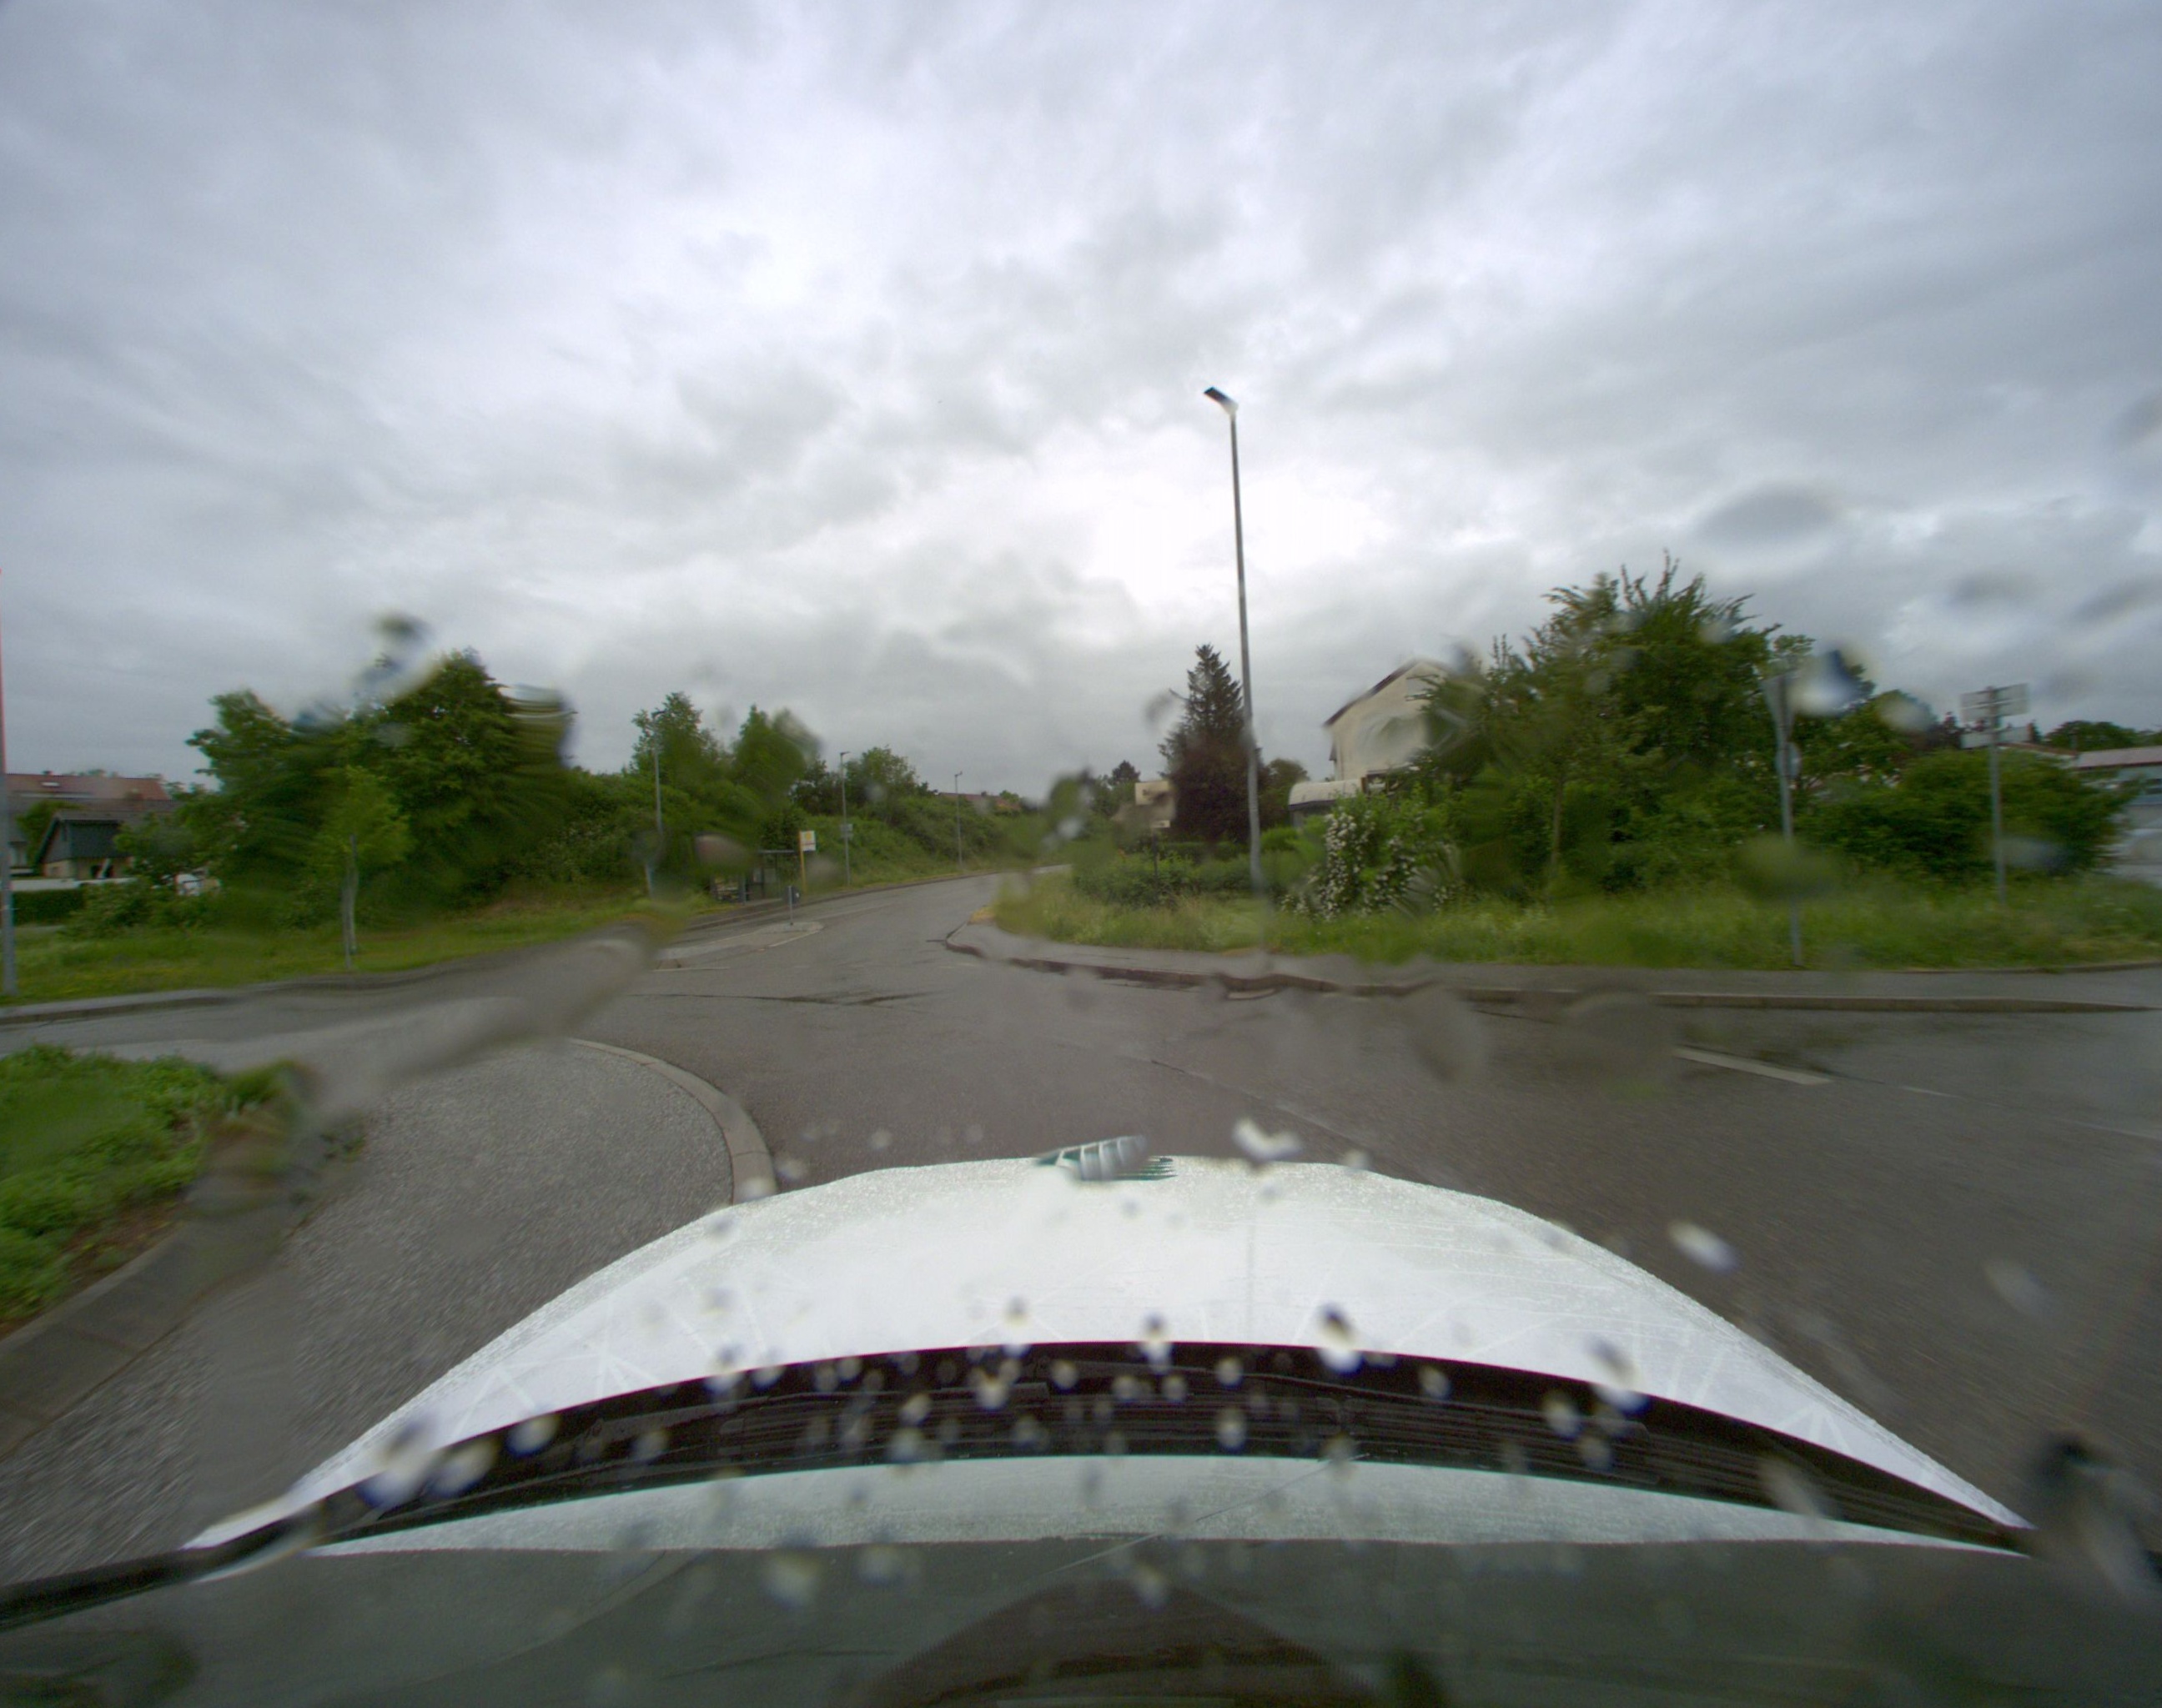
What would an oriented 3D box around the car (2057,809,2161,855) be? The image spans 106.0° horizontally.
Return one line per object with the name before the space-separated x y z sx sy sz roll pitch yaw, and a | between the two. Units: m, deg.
car | 34.729 -0.750 26.127 3.949 1.374 1.795 -3 0 27
